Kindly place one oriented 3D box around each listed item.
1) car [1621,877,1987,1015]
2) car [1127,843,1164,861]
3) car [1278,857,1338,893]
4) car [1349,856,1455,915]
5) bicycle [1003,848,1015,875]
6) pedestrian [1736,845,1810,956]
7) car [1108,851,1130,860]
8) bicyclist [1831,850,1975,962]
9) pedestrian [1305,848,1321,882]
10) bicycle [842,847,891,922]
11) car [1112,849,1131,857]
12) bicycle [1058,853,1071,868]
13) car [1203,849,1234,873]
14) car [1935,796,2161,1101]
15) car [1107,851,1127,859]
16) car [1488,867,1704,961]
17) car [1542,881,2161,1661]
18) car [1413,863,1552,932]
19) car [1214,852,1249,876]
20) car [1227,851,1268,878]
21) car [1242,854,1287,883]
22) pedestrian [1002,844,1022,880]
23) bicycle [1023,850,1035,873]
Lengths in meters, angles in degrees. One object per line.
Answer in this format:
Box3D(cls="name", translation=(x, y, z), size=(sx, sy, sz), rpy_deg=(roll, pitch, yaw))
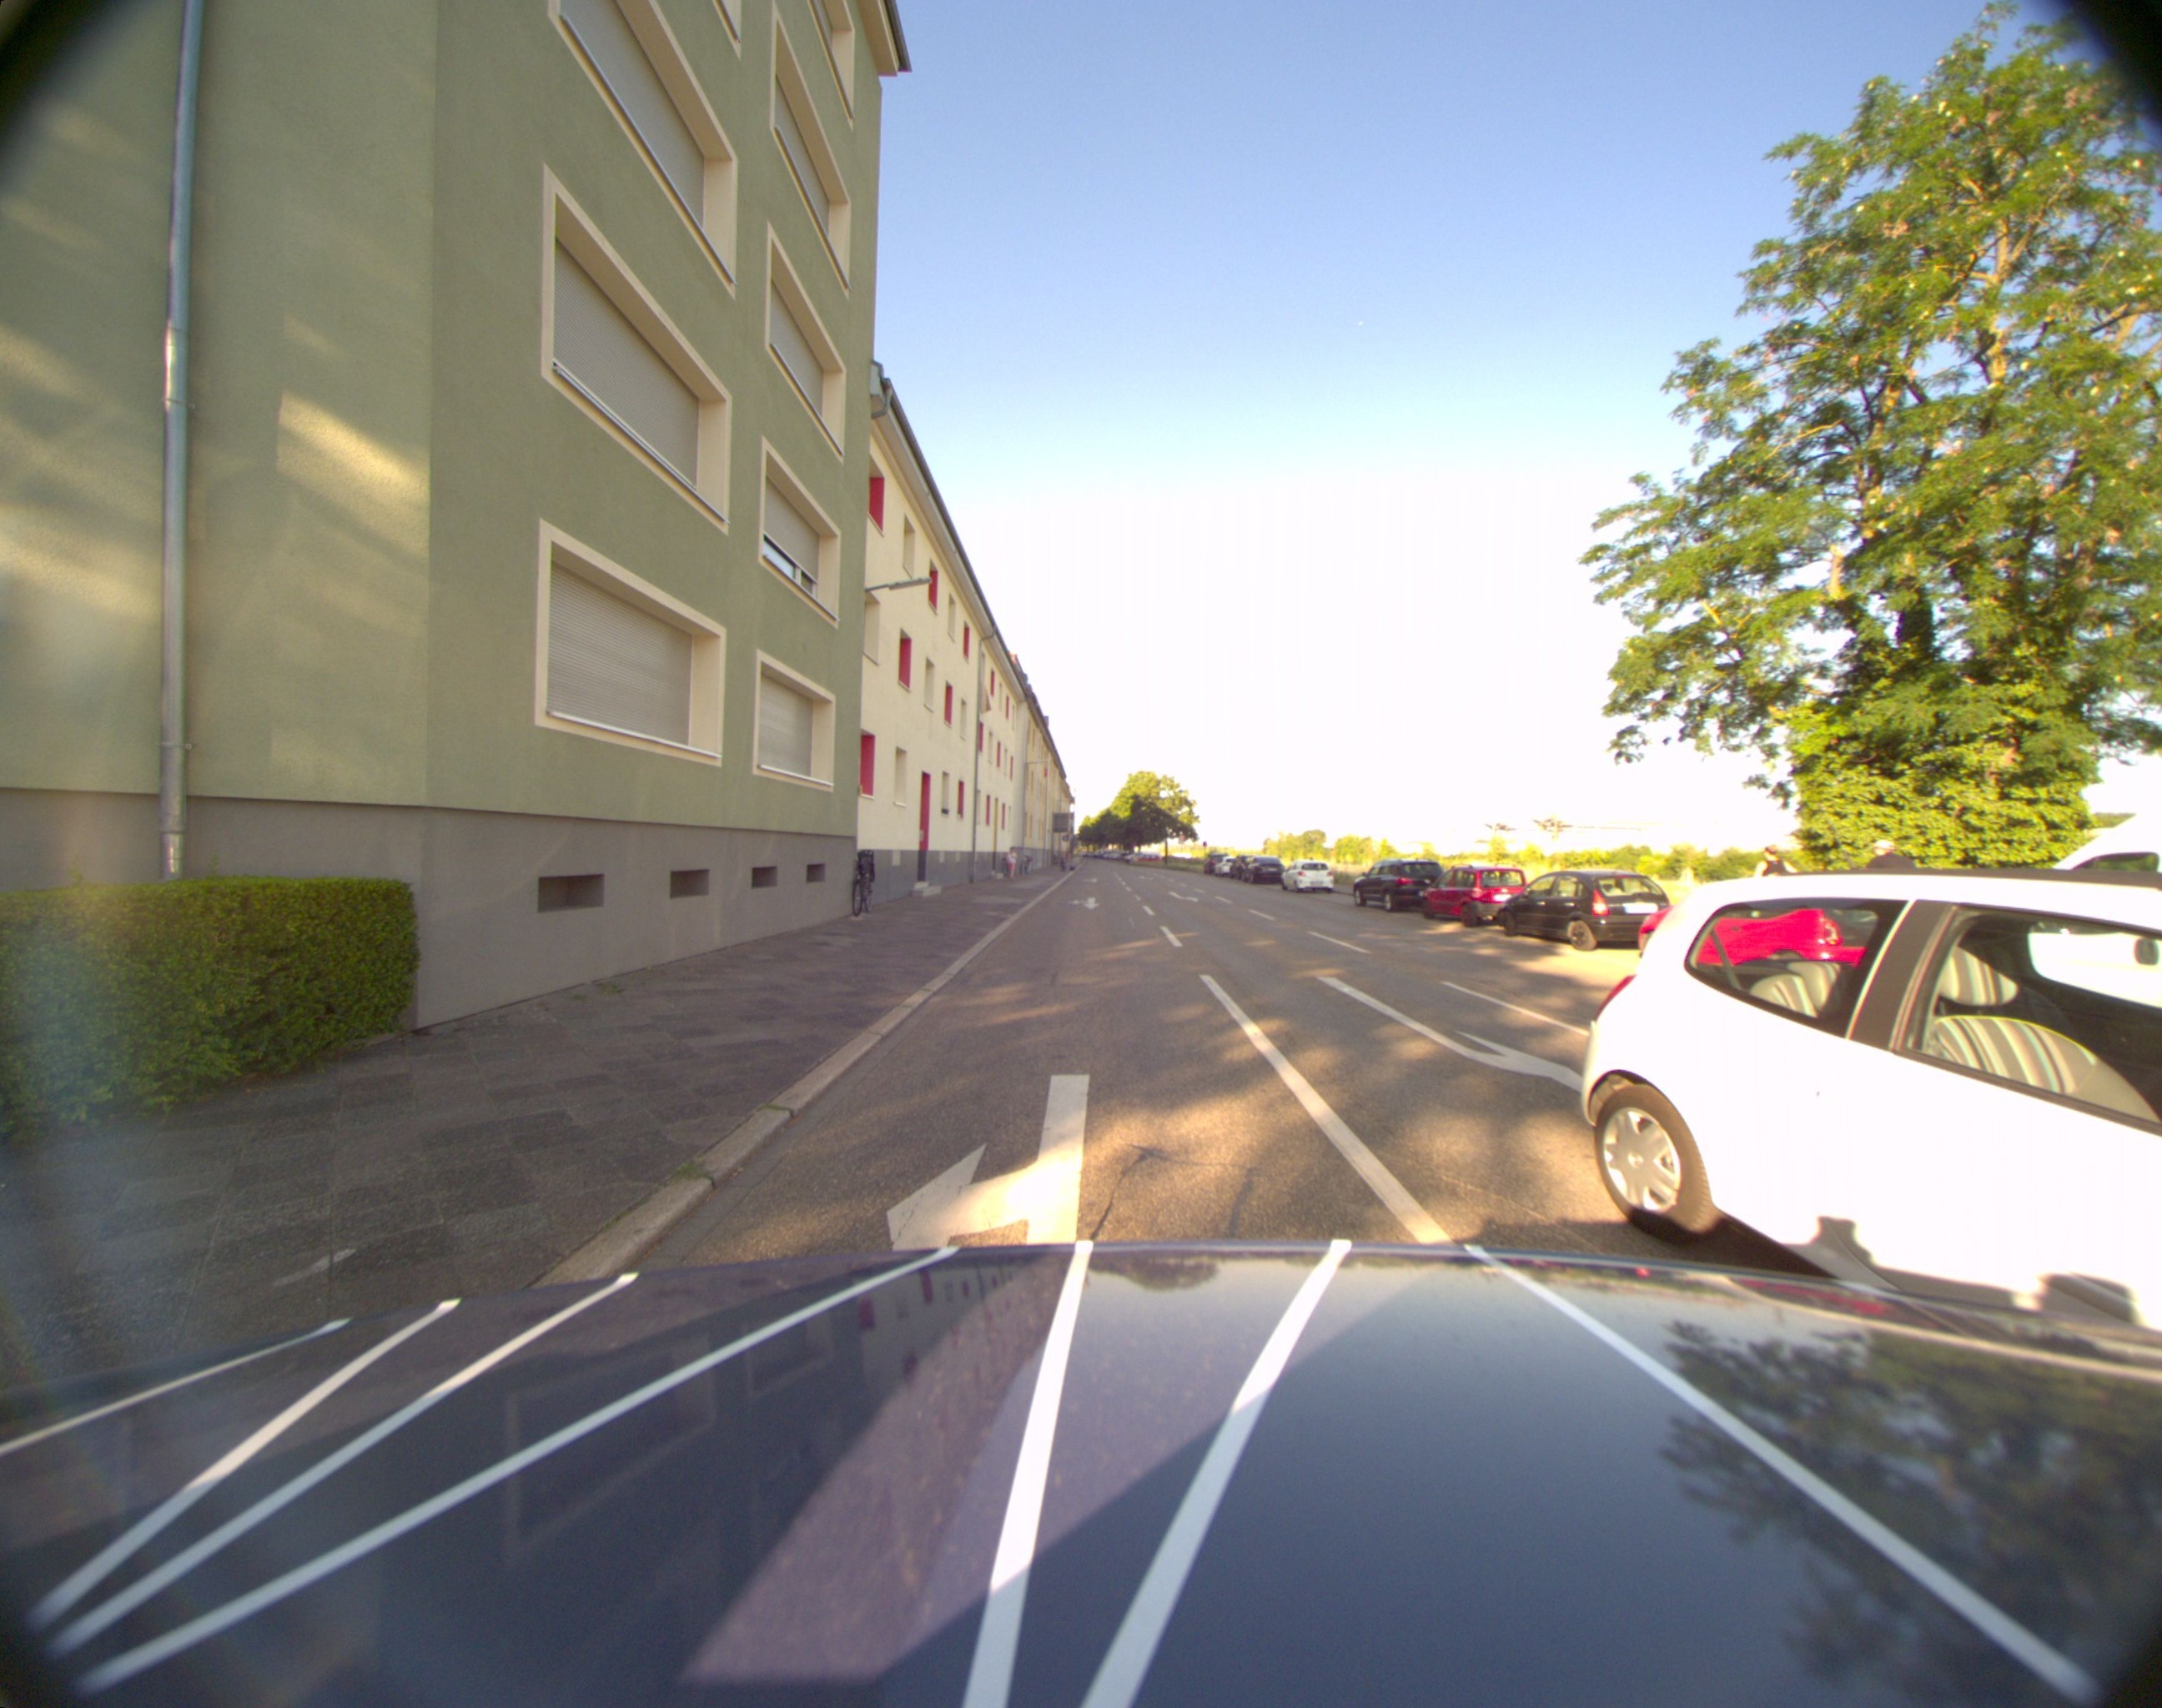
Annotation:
Box3D(cls="car", translation=(10.064, 1.174, 11.045), size=(1.745, 1.478, 3.694), rpy_deg=(2, 1, 0))
Box3D(cls="car", translation=(9.515, -0.297, 112.244), size=(5.322, 2.398, 2.266), rpy_deg=(-2, 1, 0))
Box3D(cls="car", translation=(10.406, 0.917, 35.072), size=(1.706, 1.517, 3.583), rpy_deg=(2, 1, 1))
Box3D(cls="car", translation=(10.137, 0.945, 24.351), size=(1.664, 1.649, 4.005), rpy_deg=(2, 1, 0))
Box3D(cls="bicycle", translation=(-3.937, 0.381, 41.376), size=(0.517, 1.404, 1.873), rpy_deg=(2, 1, -3))
Box3D(cls="pedestrian", translation=(12.884, 0.841, 14.169), size=(0.615, 2.002, 0.730), rpy_deg=(2, 1, -1))
Box3D(cls="car", translation=(7.480, 0.257, 149.736), size=(3.997, 1.708, 2.000), rpy_deg=(2, 1, -1))
Box3D(cls="bicyclist", translation=(12.385, 0.745, 11.497), size=(0.867, 1.587, 1.145), rpy_deg=(1, 1, -4))
Box3D(cls="pedestrian", translation=(13.852, 0.661, 45.349), size=(0.706, 2.002, 0.710), rpy_deg=(2, 1, 2))
Box3D(cls="bicycle", translation=(-4.314, 0.573, 15.372), size=(0.517, 1.404, 1.873), rpy_deg=(2, 1, -3))
Box3D(cls="car", translation=(9.187, -0.217, 173.167), size=(3.997, 1.708, 2.000), rpy_deg=(2, 1, -1))
Box3D(cls="bicycle", translation=(-1.253, 0.490, 56.844), size=(0.651, 1.091, 2.201), rpy_deg=(1, 1, -8))
Box3D(cls="car", translation=(10.998, 0.521, 60.983), size=(1.890, 1.765, 4.220), rpy_deg=(2, 1, 2))
Box3D(cls="car", translation=(9.684, 0.742, 4.822), size=(2.235, 2.422, 5.559), rpy_deg=(-1, 1, -1))
Box3D(cls="car", translation=(7.412, 0.199, 155.318), size=(3.997, 1.708, 2.000), rpy_deg=(2, 1, -1))
Box3D(cls="car", translation=(10.166, 1.100, 15.414), size=(1.745, 1.521, 3.816), rpy_deg=(2, 1, 0))
Box3D(cls="car", translation=(3.009, 0.890, 1.611), size=(1.705, 1.460, 3.775), rpy_deg=(2, 1, -1))
Box3D(cls="car", translation=(10.258, 1.058, 19.731), size=(1.664, 1.521, 3.579), rpy_deg=(2, 1, 0))
Box3D(cls="car", translation=(10.849, 0.704, 55.099), size=(1.823, 1.565, 4.220), rpy_deg=(2, 0, 2))
Box3D(cls="car", translation=(10.843, 0.679, 49.706), size=(1.823, 1.628, 4.220), rpy_deg=(2, 1, 2))
Box3D(cls="car", translation=(10.567, 0.809, 44.005), size=(1.823, 1.517, 4.291), rpy_deg=(2, 0, 5))
Box3D(cls="pedestrian", translation=(-3.326, 0.374, 36.626), size=(0.787, 1.697, 0.950), rpy_deg=(3, 1, 1))
Box3D(cls="bicycle", translation=(-3.167, 0.431, 46.309), size=(0.517, 1.318, 2.210), rpy_deg=(2, 1, 2))
